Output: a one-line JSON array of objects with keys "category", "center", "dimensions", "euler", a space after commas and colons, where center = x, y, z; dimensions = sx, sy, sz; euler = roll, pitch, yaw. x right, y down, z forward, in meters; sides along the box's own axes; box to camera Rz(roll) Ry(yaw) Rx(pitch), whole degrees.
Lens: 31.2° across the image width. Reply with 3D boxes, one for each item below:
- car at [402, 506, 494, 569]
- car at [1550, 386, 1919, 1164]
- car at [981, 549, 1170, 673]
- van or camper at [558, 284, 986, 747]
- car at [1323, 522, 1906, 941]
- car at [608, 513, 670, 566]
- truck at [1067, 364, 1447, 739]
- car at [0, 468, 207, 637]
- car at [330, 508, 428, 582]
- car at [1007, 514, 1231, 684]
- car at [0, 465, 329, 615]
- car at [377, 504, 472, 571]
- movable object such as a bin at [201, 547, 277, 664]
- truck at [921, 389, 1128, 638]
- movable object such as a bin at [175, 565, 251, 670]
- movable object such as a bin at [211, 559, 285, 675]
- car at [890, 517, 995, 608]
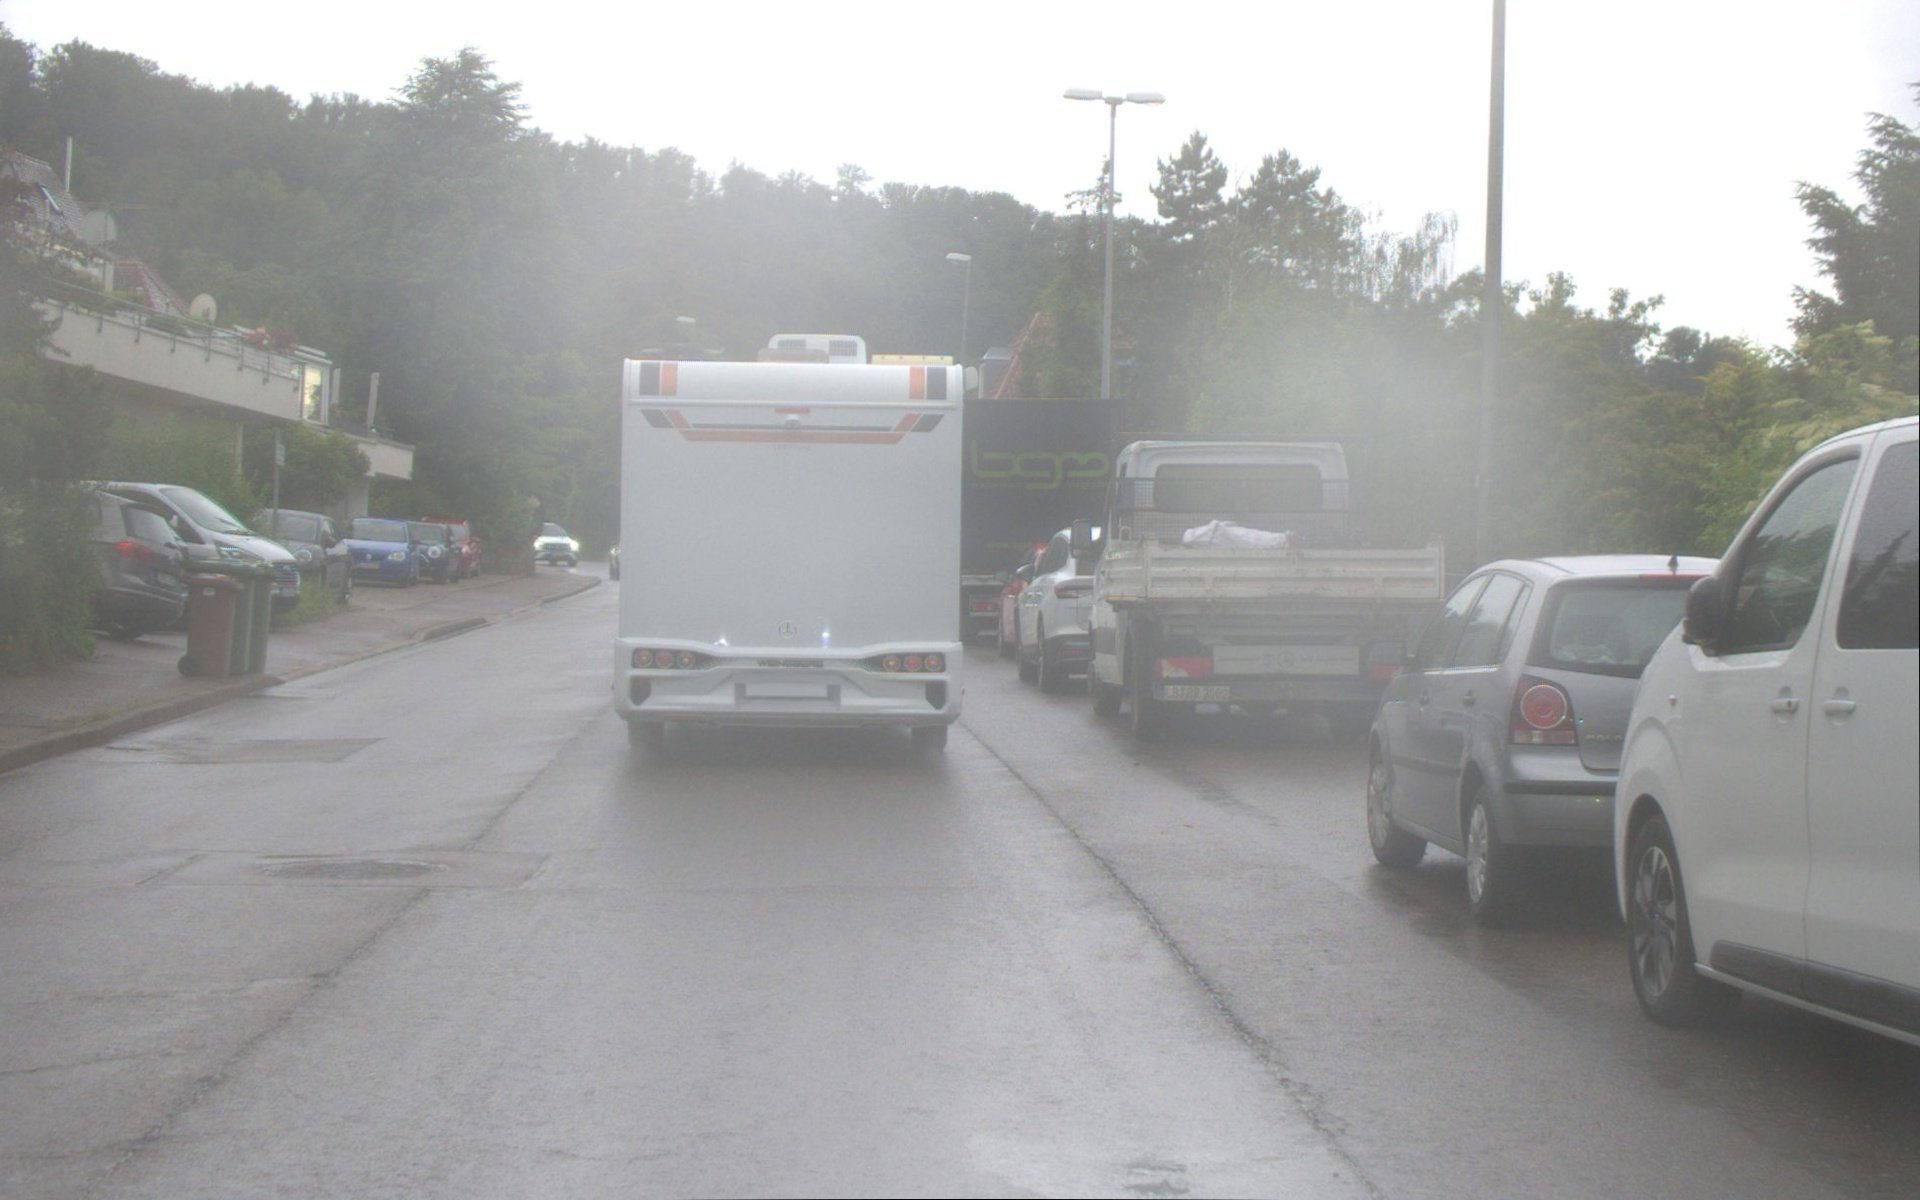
[{"category": "car", "center": [-13.196, -1.623, 88.874], "dimensions": [1.774, 1.432, 4.589], "euler": [6, 1, -3]}, {"category": "car", "center": [3.152, 0.413, 9.281], "dimensions": [1.848, 1.875, 4.912], "euler": [0, 1, -5]}, {"category": "car", "center": [1.363, 0.093, 42.562], "dimensions": [1.831, 1.433, 4.987], "euler": [0, 1, -4]}, {"category": "van or camper", "center": [-1.320, -0.516, 24.925], "dimensions": [2.615, 2.843, 6.031], "euler": [2, -1, -2]}, {"category": "car", "center": [2.653, 0.464, 14.811], "dimensions": [1.648, 1.558, 3.964], "euler": [0, 1, -2]}, {"category": "car", "center": [-10.203, -1.947, 109.482], "dimensions": [1.906, 1.602, 4.429], "euler": [2, 1, -5]}, {"category": "truck", "center": [2.192, -0.382, 27.442], "dimensions": [2.239, 2.622, 6.539], "euler": [0, 1, -2]}, {"category": "car", "center": [-10.631, -0.616, 37.792], "dimensions": [4.057, 1.686, 1.893], "euler": [5, 1, 11]}, {"category": "car", "center": [-12.612, -1.218, 74.814], "dimensions": [1.607, 1.429, 3.960], "euler": [5, 1, -4]}, {"category": "car", "center": [1.536, -0.038, 34.816], "dimensions": [1.759, 1.599, 4.667], "euler": [0, 1, -4]}, {"category": "car", "center": [-11.280, -0.815, 46.187], "dimensions": [5.088, 1.938, 2.140], "euler": [1, 1, 14]}, {"category": "car", "center": [-12.524, -1.479, 80.589], "dimensions": [1.633, 1.391, 4.239], "euler": [5, 1, -3]}, {"category": "movable object such as a bin", "center": [-6.771, 0.048, 32.299], "dimensions": [0.602, 1.060, 0.638], "euler": [2, 1, -7]}, {"category": "truck", "center": [0.822, -1.213, 50.097], "dimensions": [2.436, 3.324, 7.966], "euler": [0, 1, -3]}, {"category": "movable object such as a bin", "center": [-6.834, 0.159, 31.467], "dimensions": [0.602, 0.925, 0.564], "euler": [2, 1, -7]}, {"category": "movable object such as a bin", "center": [-6.811, 0.158, 32.906], "dimensions": [0.602, 1.060, 0.698], "euler": [2, 1, -7]}, {"category": "car", "center": [-0.371, -0.747, 66.158], "dimensions": [1.936, 1.666, 4.695], "euler": [0, 1, -1]}]
